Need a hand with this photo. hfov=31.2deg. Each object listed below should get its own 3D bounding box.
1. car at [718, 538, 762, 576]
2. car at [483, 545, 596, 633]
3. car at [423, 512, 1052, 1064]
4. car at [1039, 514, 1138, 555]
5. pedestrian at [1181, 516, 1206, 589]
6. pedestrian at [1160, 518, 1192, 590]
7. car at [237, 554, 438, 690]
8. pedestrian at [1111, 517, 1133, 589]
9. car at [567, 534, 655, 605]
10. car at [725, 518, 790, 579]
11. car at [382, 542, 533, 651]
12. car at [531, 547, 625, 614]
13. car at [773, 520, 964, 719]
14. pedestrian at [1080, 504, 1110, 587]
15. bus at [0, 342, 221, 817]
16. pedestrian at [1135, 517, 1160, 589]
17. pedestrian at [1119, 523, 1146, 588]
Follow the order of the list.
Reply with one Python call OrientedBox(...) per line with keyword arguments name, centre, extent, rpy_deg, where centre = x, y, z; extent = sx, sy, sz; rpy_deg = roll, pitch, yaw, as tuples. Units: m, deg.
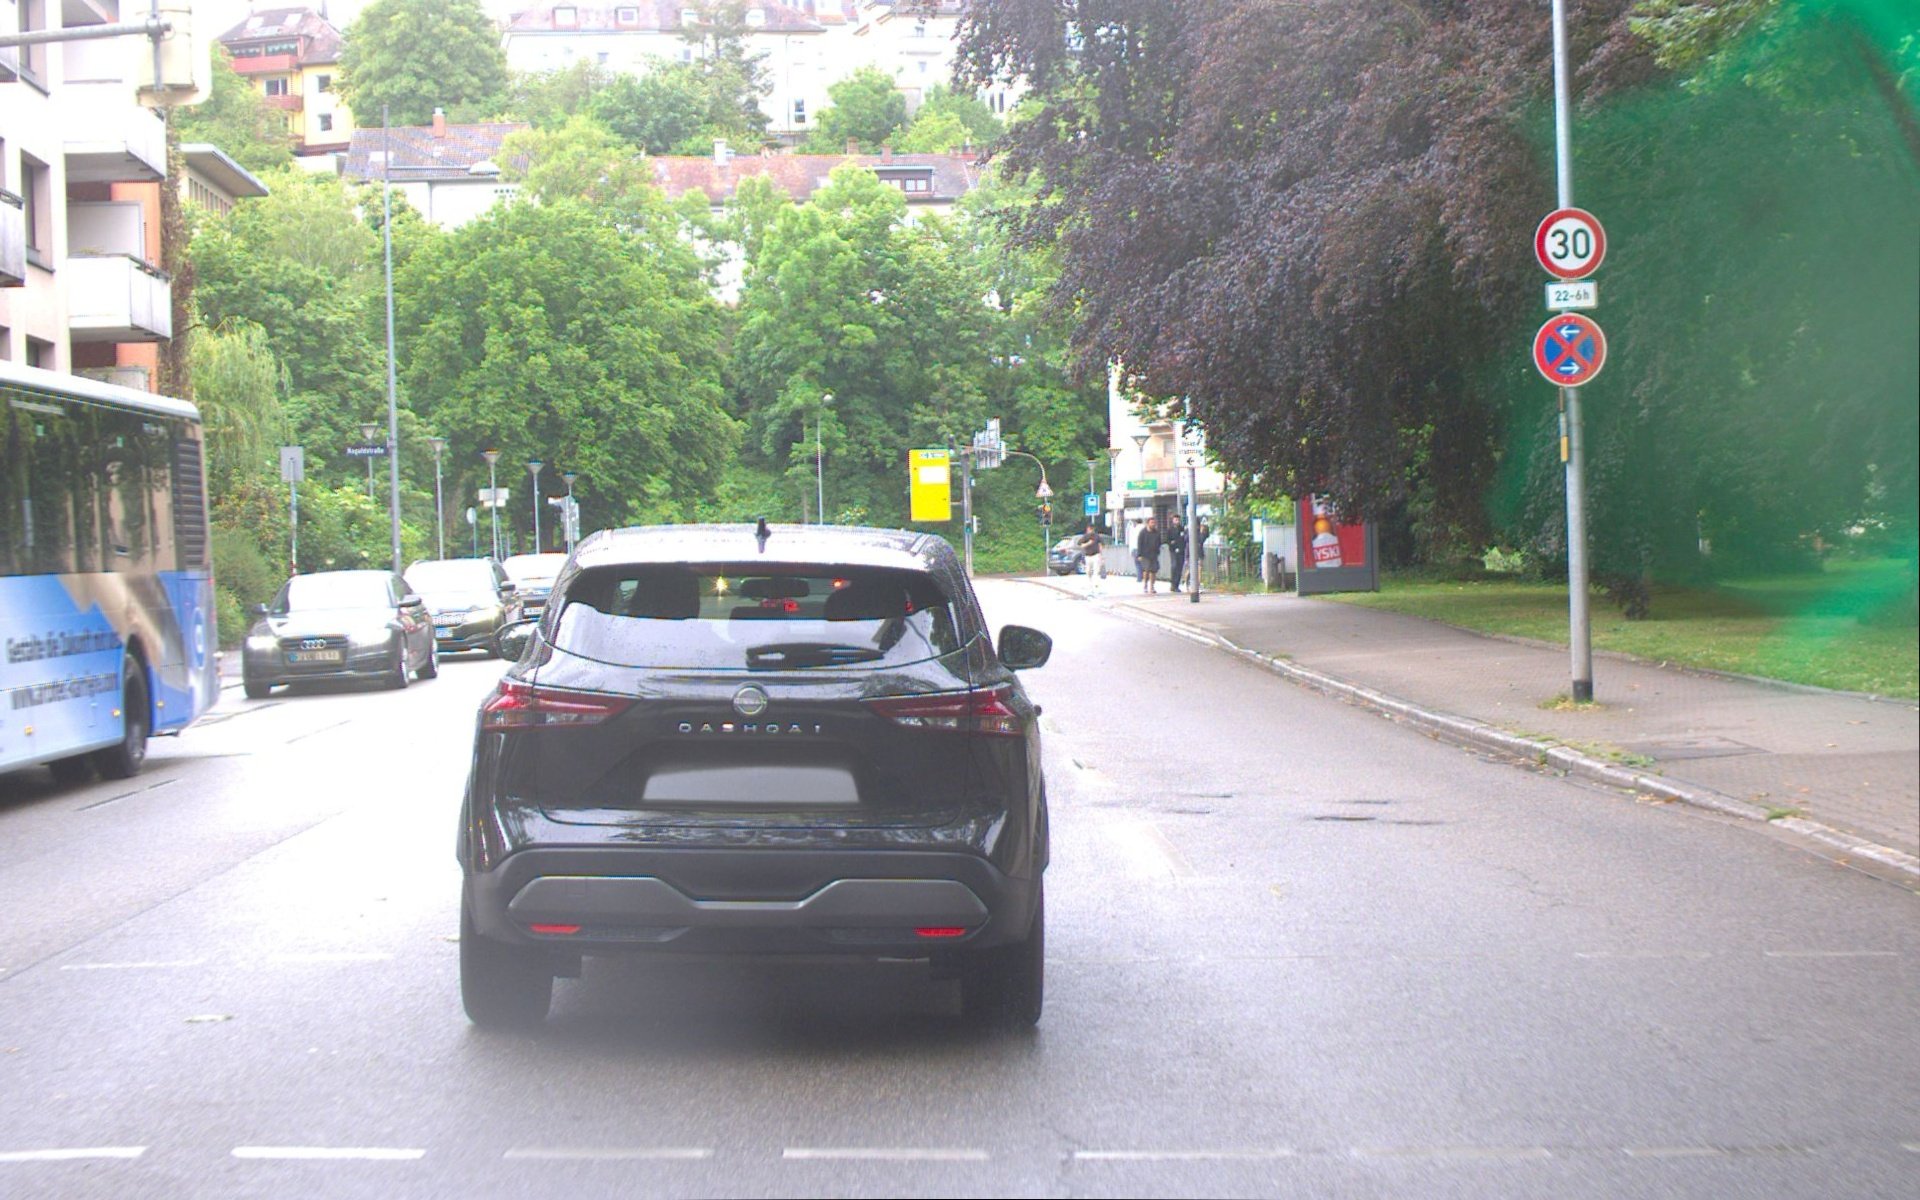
OrientedBox(name="car", centre=(-9.001, -1.764, 140.931), extent=(1.718, 1.463, 3.686), rpy_deg=(-2, 1, -3))
OrientedBox(name="car", centre=(-7.736, -0.230, 63.538), extent=(1.676, 1.464, 4.217), rpy_deg=(-3, 1, -3))
OrientedBox(name="car", centre=(-0.694, 0.538, 11.973), extent=(1.806, 1.584, 4.000), rpy_deg=(1, 0, -1))
OrientedBox(name="car", centre=(5.736, -2.918, 153.601), extent=(3.986, 1.678, 2.001), rpy_deg=(-2, 1, -11))
OrientedBox(name="pedestrian", centre=(5.281, -1.071, 77.748), extent=(0.514, 1.650, 0.550), rpy_deg=(1, 0, -1))
OrientedBox(name="pedestrian", centre=(4.987, -1.068, 79.380), extent=(0.699, 1.645, 0.628), rpy_deg=(1, 0, 3))
OrientedBox(name="car", centre=(-7.481, 0.223, 41.662), extent=(1.775, 1.464, 4.217), rpy_deg=(-3, 1, -3))
OrientedBox(name="pedestrian", centre=(3.730, -1.081, 79.201), extent=(0.475, 1.645, 0.490), rpy_deg=(1, 0, 3))
OrientedBox(name="car", centre=(-8.455, -0.753, 83.490), extent=(1.750, 1.628, 3.635), rpy_deg=(-2, 1, -1))
OrientedBox(name="car", centre=(-6.154, -1.576, 104.727), extent=(1.763, 1.752, 3.635), rpy_deg=(-2, 1, -1))
OrientedBox(name="car", centre=(-7.476, -0.084, 51.447), extent=(1.747, 1.464, 4.217), rpy_deg=(-3, 1, -3))
OrientedBox(name="car", centre=(-8.111, -0.434, 73.171), extent=(1.676, 1.291, 3.752), rpy_deg=(-3, 1, -3))
OrientedBox(name="car", centre=(-0.808, 0.147, 32.416), extent=(1.622, 1.703, 3.771), rpy_deg=(-2, 1, 0))
OrientedBox(name="pedestrian", centre=(3.560, -1.424, 90.503), extent=(0.768, 2.176, 0.711), rpy_deg=(1, 0, 2))
OrientedBox(name="bus", centre=(-7.405, -0.111, 22.595), extent=(2.766, 2.964, 11.782), rpy_deg=(-2, 1, -1))
OrientedBox(name="pedestrian", centre=(4.323, -1.075, 79.328), extent=(0.544, 1.645, 0.490), rpy_deg=(1, 0, 3))
OrientedBox(name="pedestrian", centre=(4.771, -1.241, 95.053), extent=(0.618, 1.773, 0.778), rpy_deg=(-2, 1, -1))
